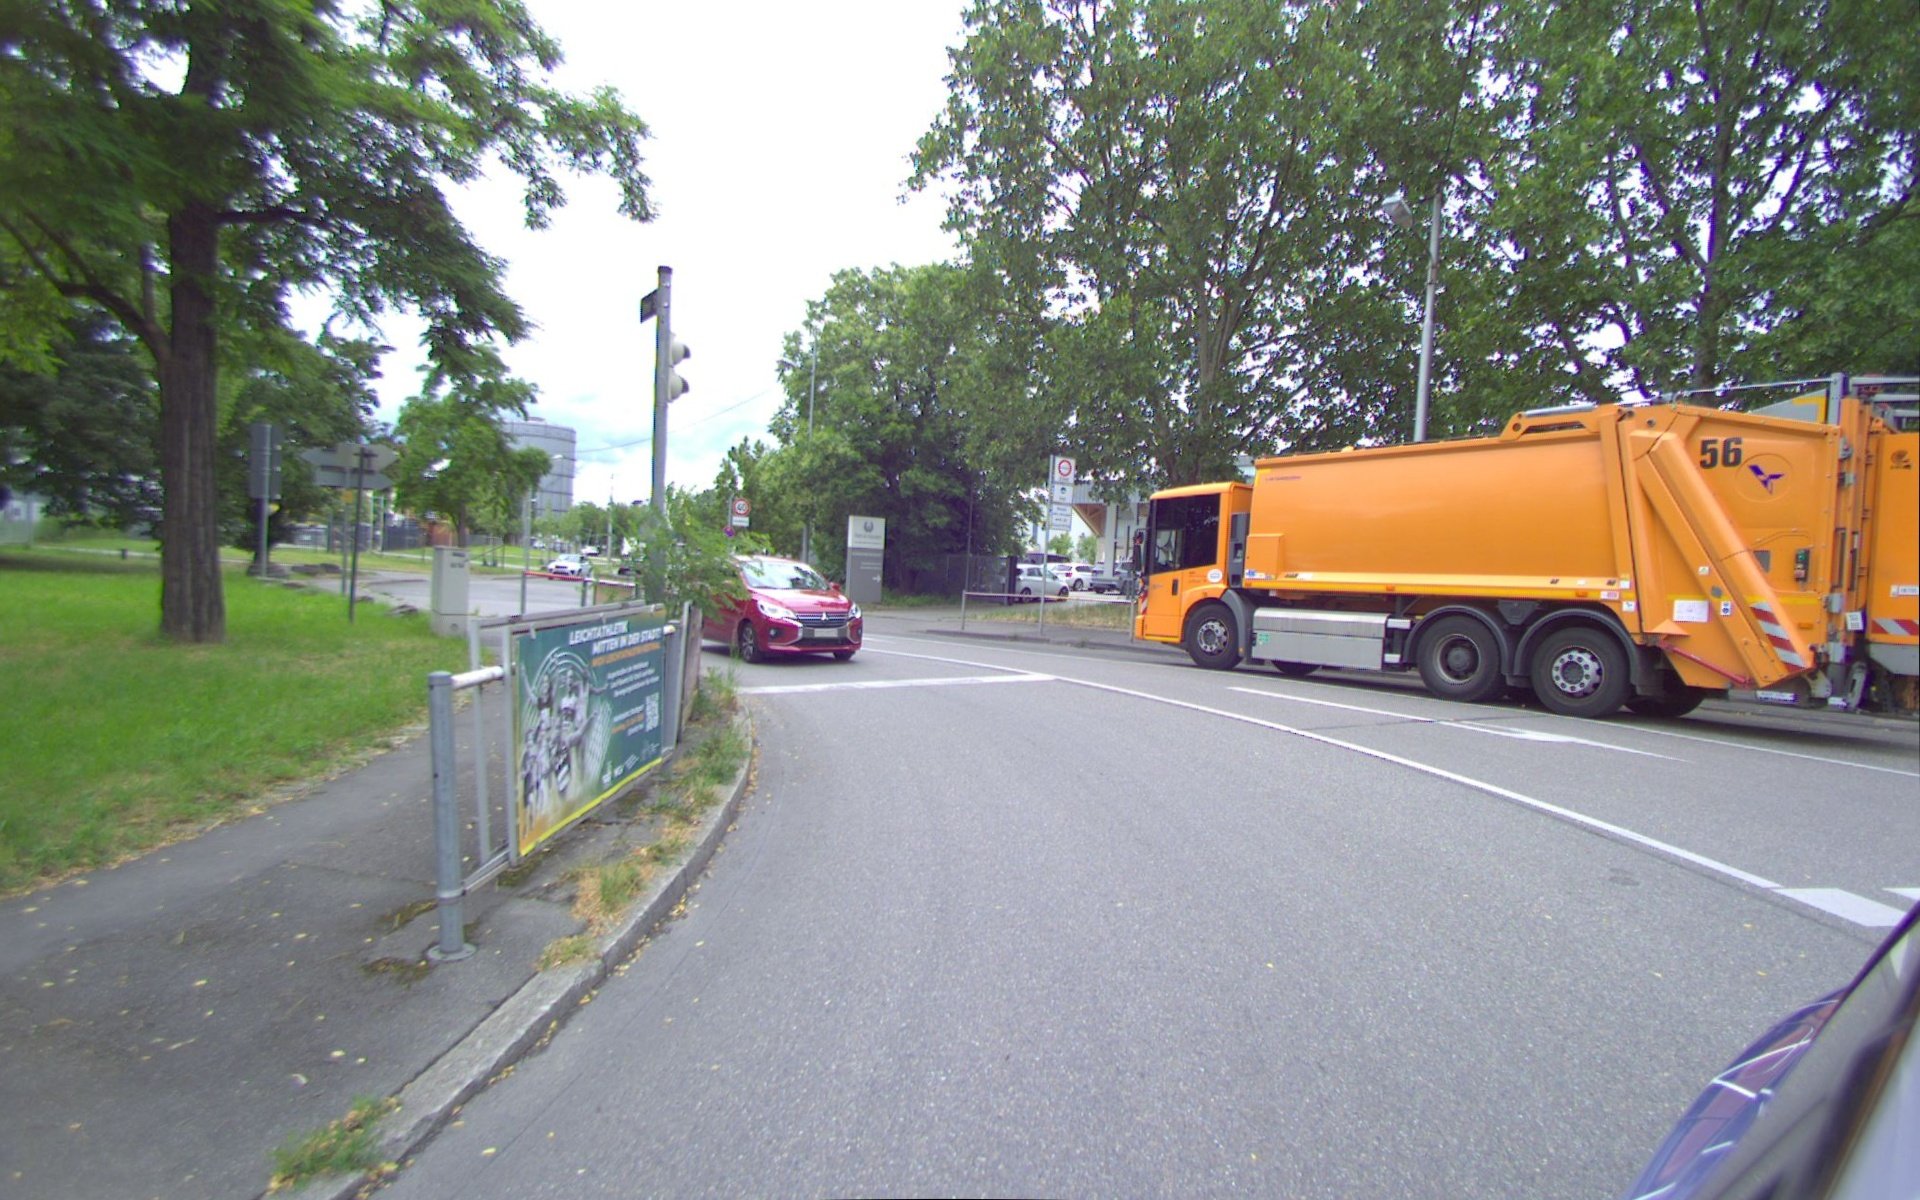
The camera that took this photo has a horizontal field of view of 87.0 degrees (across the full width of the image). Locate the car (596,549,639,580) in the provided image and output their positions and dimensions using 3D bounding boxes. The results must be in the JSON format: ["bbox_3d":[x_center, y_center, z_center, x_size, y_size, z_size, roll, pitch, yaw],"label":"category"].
[{"bbox_3d":[-20.657,-2.103,61.162,1.811,1.656,4.193,4,0,-11],"label":"car"}]

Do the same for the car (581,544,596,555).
[{"bbox_3d":[-63.000,-8.541,171.580,2.005,1.555,3.950,4,1,-26],"label":"car"}]

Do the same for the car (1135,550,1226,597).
[{"bbox_3d":[10.804,-1.294,49.510,4.560,2.038,1.997,2,2,-42],"label":"car"}]

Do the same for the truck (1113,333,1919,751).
[{"bbox_3d":[6.677,-0.639,13.241,2.744,3.570,10.425,2,1,-35],"label":"truck"}]

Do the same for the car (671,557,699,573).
[{"bbox_3d":[-29.571,-3.768,108.866,2.006,1.555,3.949,2,2,-29],"label":"car"}]

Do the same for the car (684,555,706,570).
[{"bbox_3d":[-28.613,-4.061,109.268,2.005,1.554,3.952,-1,4,-19],"label":"car"}]

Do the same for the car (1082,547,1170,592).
[{"bbox_3d":[8.538,-1.536,51.832,4.560,2.038,1.997,2,2,-42],"label":"car"}]

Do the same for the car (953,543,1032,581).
[{"bbox_3d":[2.021,-2.312,62.516,4.740,2.038,1.997,2,2,-42],"label":"car"}]

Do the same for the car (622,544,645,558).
[{"bbox_3d":[-41.790,-6.247,129.425,2.006,1.667,3.949,2,2,-29],"label":"car"}]

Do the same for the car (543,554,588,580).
[{"bbox_3d":[-24.877,-2.110,63.934,2.005,1.554,3.952,0,4,-12],"label":"car"}]

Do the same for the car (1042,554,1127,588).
[{"bbox_3d":[6.774,-1.562,54.651,4.560,1.577,1.997,2,2,-42],"label":"car"}]

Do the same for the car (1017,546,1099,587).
[{"bbox_3d":[5.580,-1.893,57.289,4.560,2.038,1.997,2,2,-42],"label":"car"}]

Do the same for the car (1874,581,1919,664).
[{"bbox_3d":[20.880,0.540,21.634,3.932,1.633,1.589,2,2,-43],"label":"car"}]

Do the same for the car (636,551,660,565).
[{"bbox_3d":[-37.755,-5.057,122.428,2.006,1.555,3.949,2,2,-29],"label":"car"}]

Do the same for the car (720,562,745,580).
[{"bbox_3d":[-19.747,-2.495,88.095,1.682,1.424,3.376,3,1,-6],"label":"car"}]

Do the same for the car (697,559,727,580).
[{"bbox_3d":[-18.899,-2.330,77.246,1.682,1.424,3.376,3,1,-6],"label":"car"}]

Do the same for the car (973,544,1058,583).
[{"bbox_3d":[3.346,-2.149,60.386,5.014,2.023,1.997,2,2,-42],"label":"car"}]

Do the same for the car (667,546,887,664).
[{"bbox_3d":[-2.845,-0.023,15.074,1.701,1.483,3.835,0,3,-36],"label":"car"}]
